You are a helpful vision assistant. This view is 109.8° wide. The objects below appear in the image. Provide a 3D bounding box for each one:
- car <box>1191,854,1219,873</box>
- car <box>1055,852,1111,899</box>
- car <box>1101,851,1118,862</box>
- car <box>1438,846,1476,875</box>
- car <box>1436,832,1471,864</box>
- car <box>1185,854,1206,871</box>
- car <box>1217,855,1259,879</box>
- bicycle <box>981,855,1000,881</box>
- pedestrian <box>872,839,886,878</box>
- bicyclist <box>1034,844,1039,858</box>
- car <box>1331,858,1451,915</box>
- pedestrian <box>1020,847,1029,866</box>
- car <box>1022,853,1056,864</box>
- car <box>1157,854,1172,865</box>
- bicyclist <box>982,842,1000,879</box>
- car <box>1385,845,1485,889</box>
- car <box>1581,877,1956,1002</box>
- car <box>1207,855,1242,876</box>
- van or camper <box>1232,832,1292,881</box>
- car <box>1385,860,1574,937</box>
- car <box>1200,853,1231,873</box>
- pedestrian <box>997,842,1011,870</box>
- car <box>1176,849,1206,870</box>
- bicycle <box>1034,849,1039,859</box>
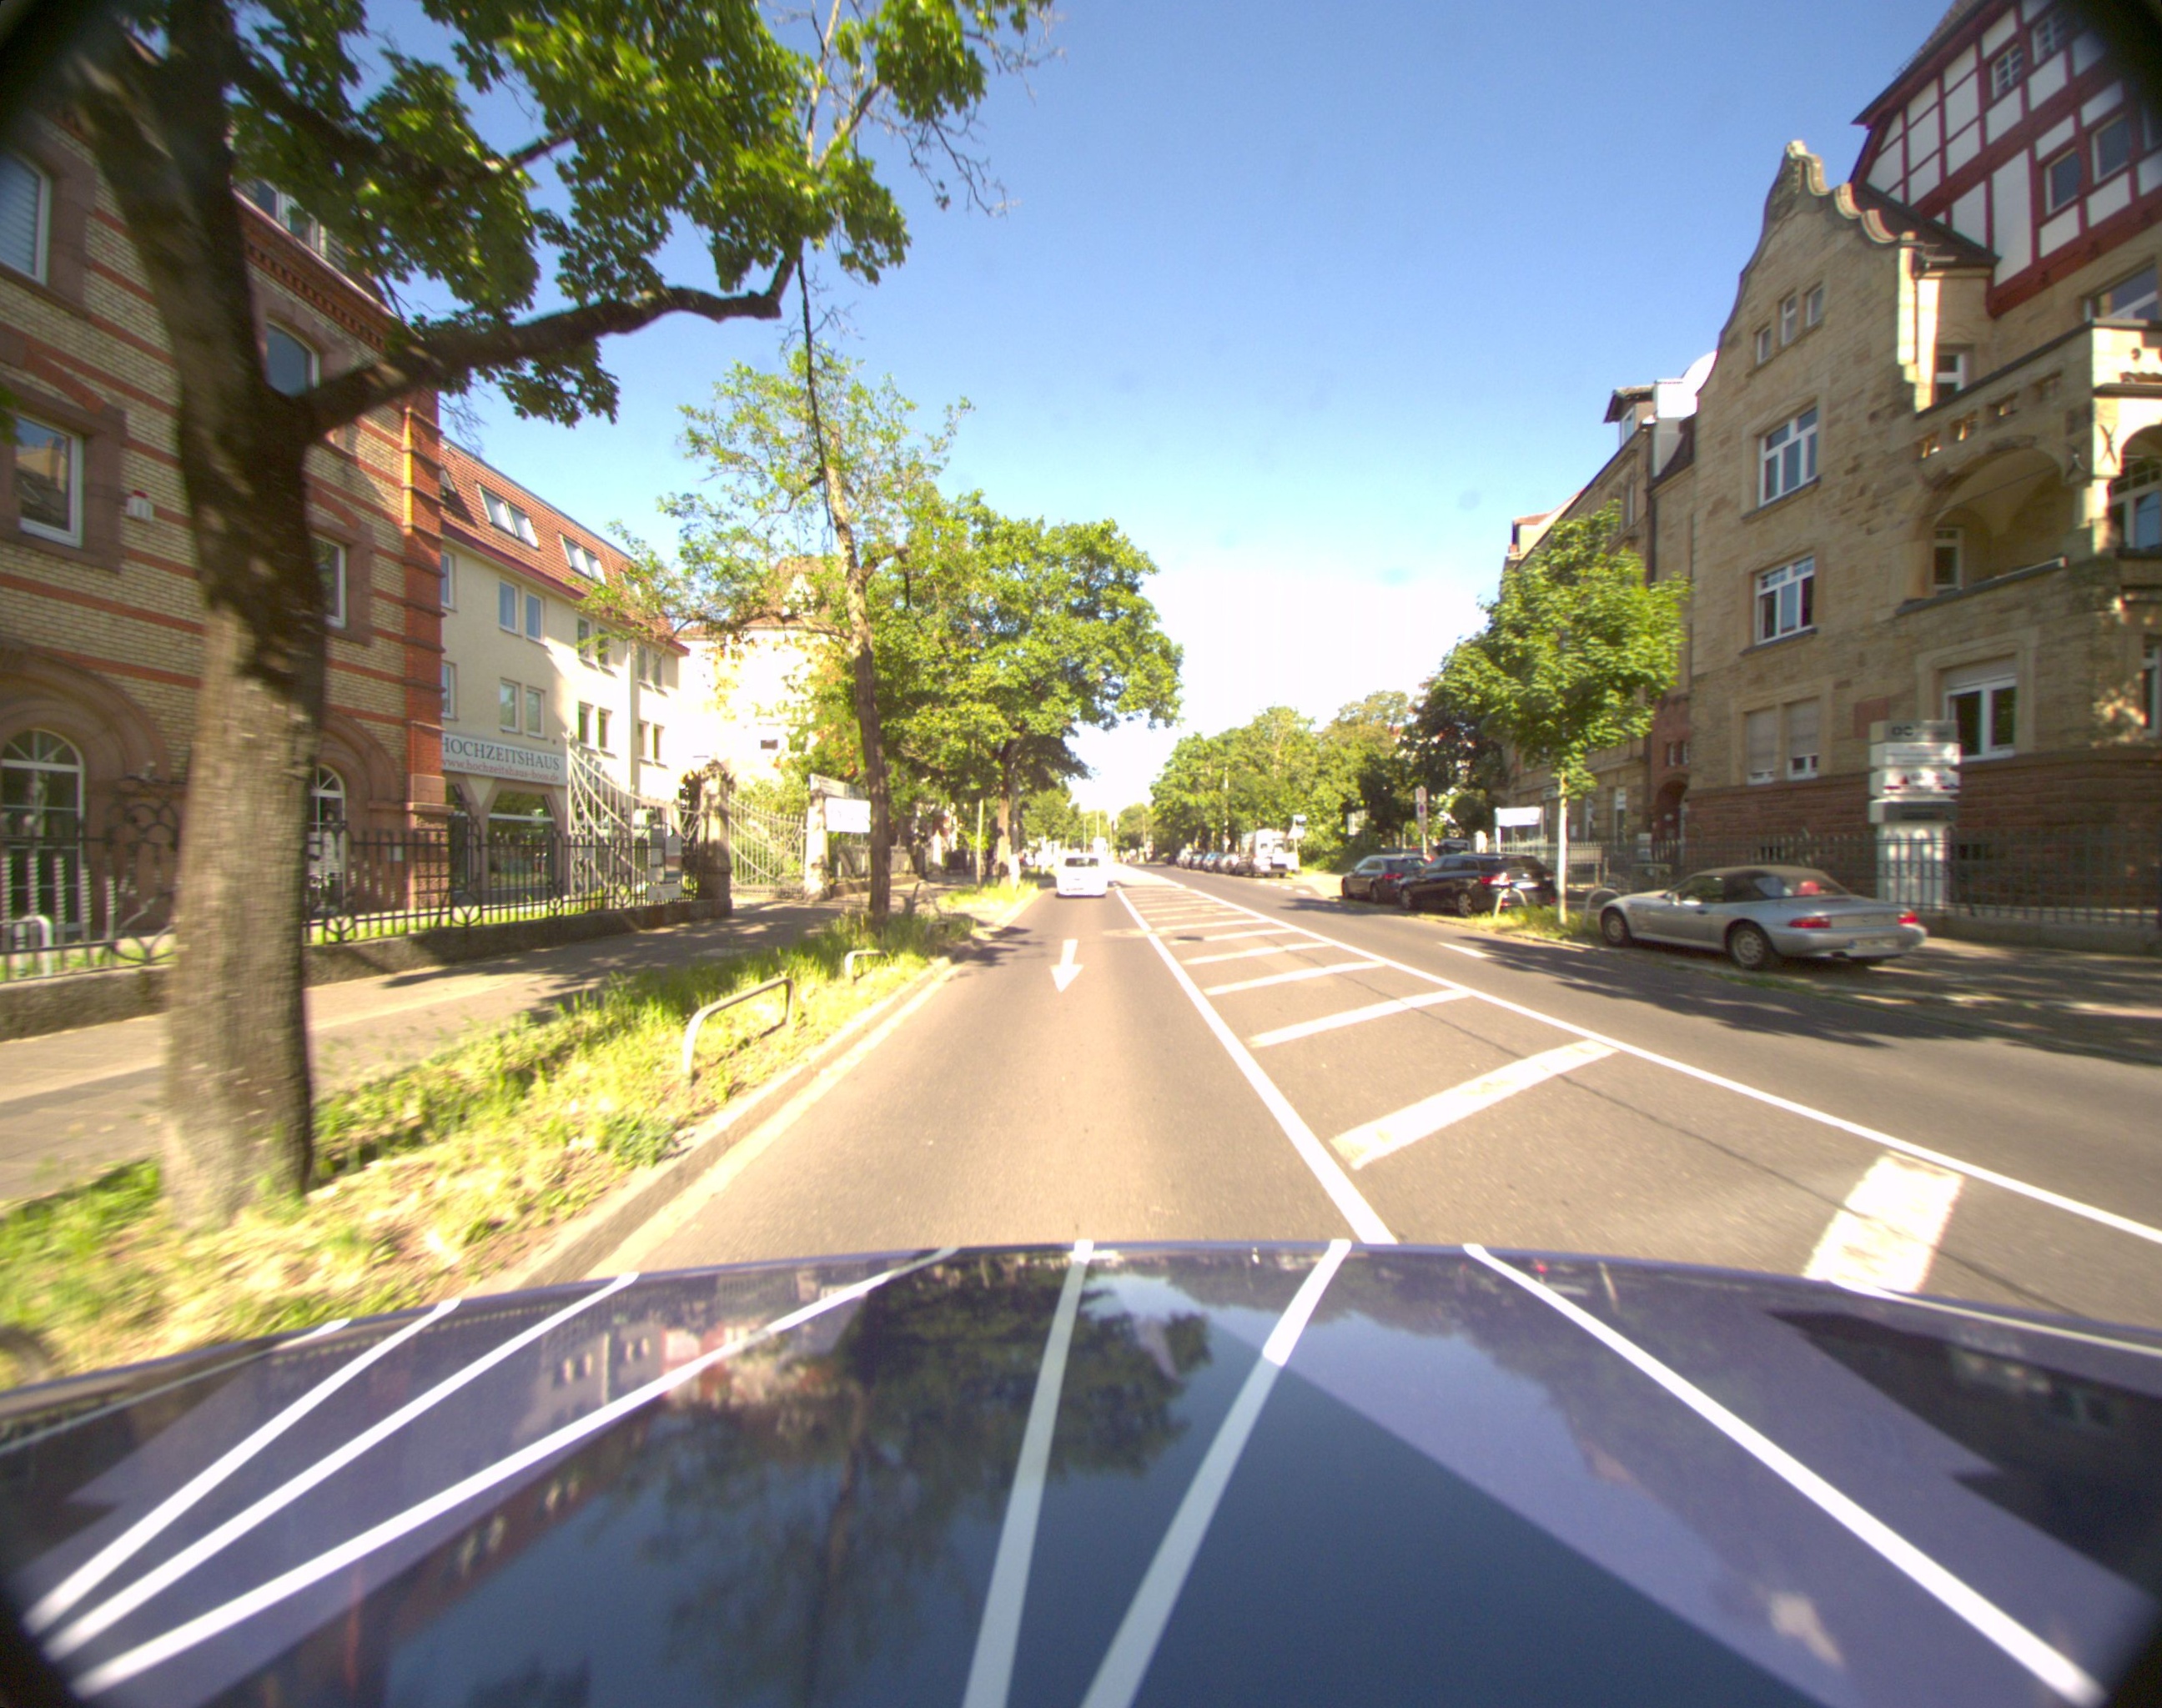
[{"bbox_3d":[10.947,0.814,67.463,1.594,1.474,4.270,1,1,-3],"label":"car"},{"bbox_3d":[0.140,0.693,26.504,1.652,1.449,3.897,-1,0,4],"label":"car"},{"bbox_3d":[3.878,0.302,104.622,1.923,1.411,4.223,-4,1,-3],"label":"car"},{"bbox_3d":[21.862,0.332,44.319,1.860,1.504,3.535,2,2,25],"label":"car"},{"bbox_3d":[23.883,-0.427,48.837,1.860,1.903,4.458,2,2,25],"label":"car"},{"bbox_3d":[11.042,0.799,73.306,1.467,1.493,3.958,1,1,1],"label":"car"},{"bbox_3d":[10.478,0.816,50.991,1.698,1.448,4.662,1,0,-1],"label":"car"},{"bbox_3d":[-4.333,0.663,36.478,0.654,1.169,1.843,3,0,0],"label":"bicycle"},{"bbox_3d":[-9.277,0.205,34.898,0.533,1.768,0.541,0,1,-26],"label":"pedestrian"},{"bbox_3d":[-5.453,-0.389,93.098,0.622,1.680,0.820,3,0,-3],"label":"bicyclist"},{"bbox_3d":[9.536,0.922,23.829,1.860,1.419,4.720,-4,0,1],"label":"car"},{"bbox_3d":[-4.969,0.207,66.834,0.696,1.649,0.820,3,1,0],"label":"pedestrian"},{"bbox_3d":[-5.737,0.659,103.550,4.417,1.409,2.047,1,0,2],"label":"car"},{"bbox_3d":[10.881,0.728,99.496,1.596,1.441,4.133,0,0,1],"label":"car"},{"bbox_3d":[-4.310,0.312,36.474,0.647,1.685,0.889,3,0,1],"label":"bicyclist"},{"bbox_3d":[15.705,0.576,33.646,4.150,1.660,1.996,-3,0,-32],"label":"car"},{"bbox_3d":[9.171,1.043,10.682,1.682,1.248,4.014,-1,0,1],"label":"car"},{"bbox_3d":[10.468,0.834,55.753,1.785,1.405,4.405,1,0,0],"label":"car"},{"bbox_3d":[10.676,0.152,45.328,2.222,2.723,6.088,0,0,0],"label":"van or camper"},{"bbox_3d":[9.549,0.969,18.751,1.861,1.485,4.703,-4,1,-4],"label":"car"},{"bbox_3d":[11.058,0.726,62.791,1.784,1.529,4.558,-2,1,2],"label":"car"},{"bbox_3d":[-4.966,0.134,48.987,0.749,1.777,0.811,3,1,1],"label":"pedestrian"},{"bbox_3d":[11.309,0.499,78.391,1.989,2.024,4.873,2,0,-3],"label":"car"},{"bbox_3d":[-5.460,0.020,93.028,0.617,1.169,1.918,3,0,-3],"label":"bicycle"}]
